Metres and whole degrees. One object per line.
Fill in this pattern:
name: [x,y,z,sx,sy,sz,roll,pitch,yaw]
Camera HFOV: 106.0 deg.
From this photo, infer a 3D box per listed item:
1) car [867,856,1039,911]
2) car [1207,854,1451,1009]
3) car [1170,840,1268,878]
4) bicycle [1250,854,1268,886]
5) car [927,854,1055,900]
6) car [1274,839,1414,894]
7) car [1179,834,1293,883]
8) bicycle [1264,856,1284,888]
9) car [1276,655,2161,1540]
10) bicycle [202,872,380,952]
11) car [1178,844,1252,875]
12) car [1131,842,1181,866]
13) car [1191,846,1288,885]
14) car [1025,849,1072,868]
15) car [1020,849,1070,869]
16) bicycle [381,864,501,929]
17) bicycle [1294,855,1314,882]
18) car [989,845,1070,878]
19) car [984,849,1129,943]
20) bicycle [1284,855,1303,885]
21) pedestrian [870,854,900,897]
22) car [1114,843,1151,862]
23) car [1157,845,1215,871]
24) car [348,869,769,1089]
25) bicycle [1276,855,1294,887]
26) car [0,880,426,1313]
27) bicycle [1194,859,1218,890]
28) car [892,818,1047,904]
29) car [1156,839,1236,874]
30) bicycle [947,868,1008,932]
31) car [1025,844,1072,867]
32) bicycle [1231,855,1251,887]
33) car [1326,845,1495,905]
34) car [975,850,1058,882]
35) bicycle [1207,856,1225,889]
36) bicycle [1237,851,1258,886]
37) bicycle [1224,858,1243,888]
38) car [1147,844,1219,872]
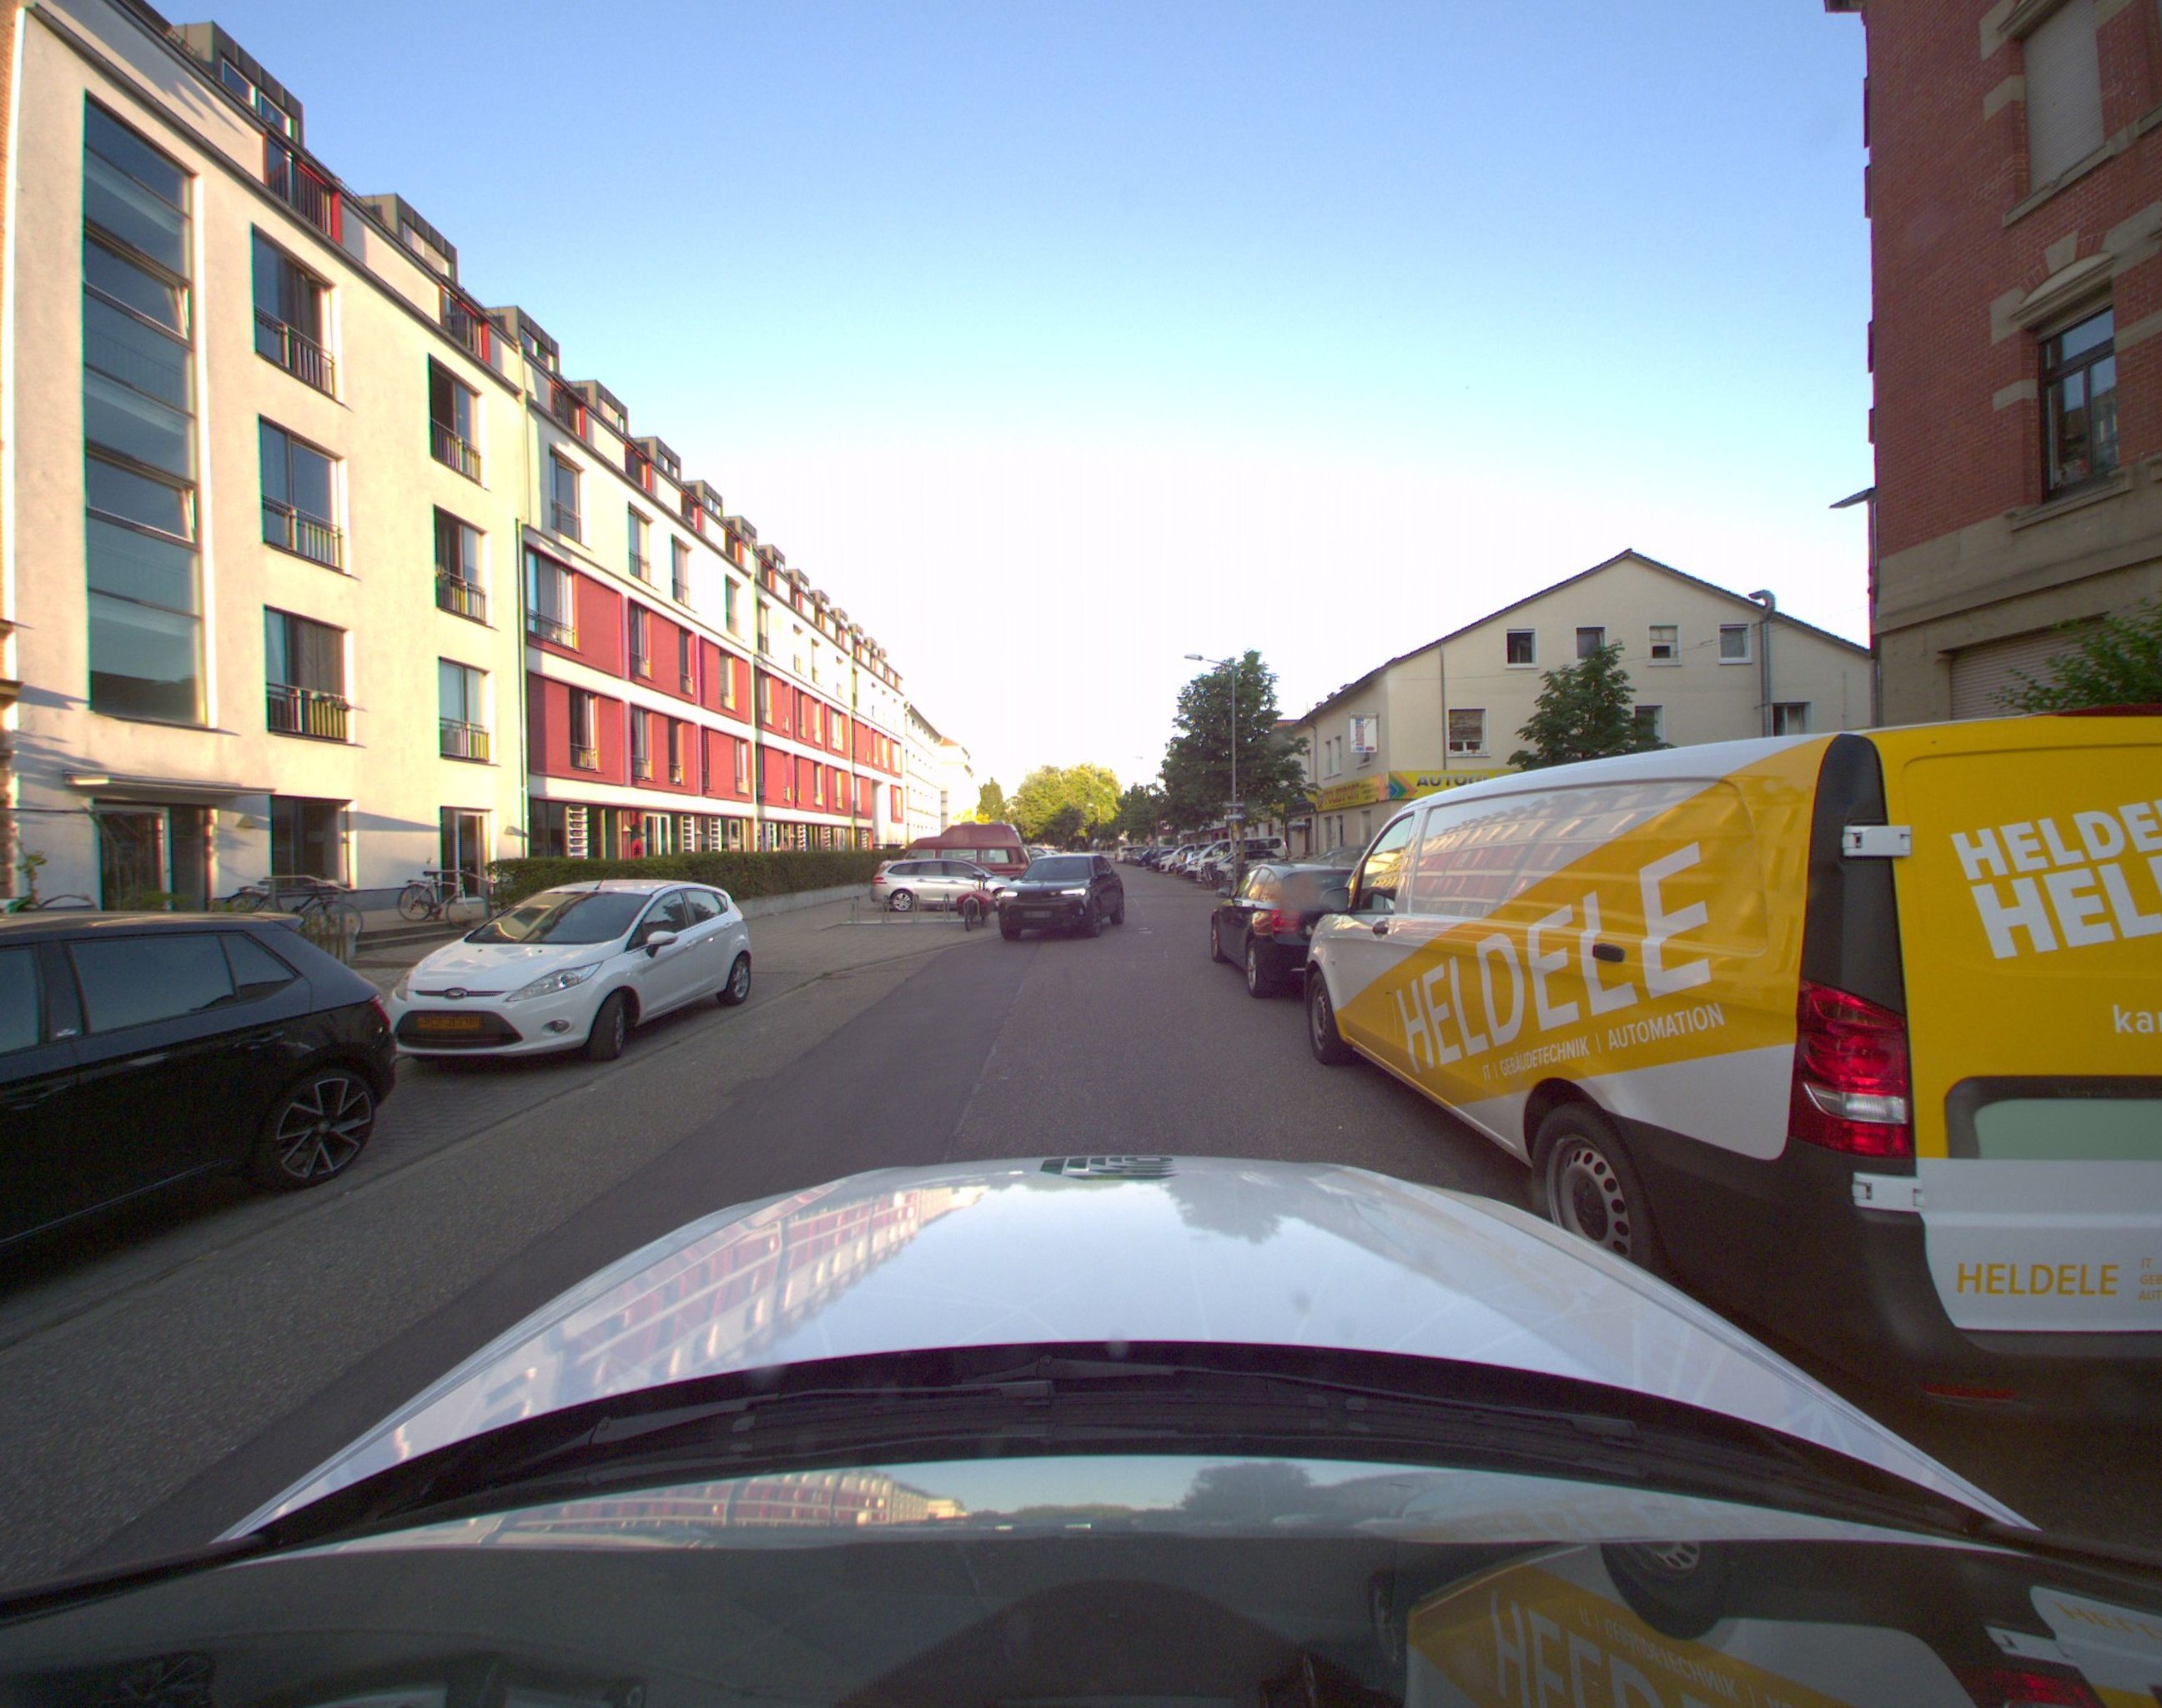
car: [-3.501,0.793,22.980,4.604,1.460,1.879,0,0,-2]
car: [2.652,0.730,9.759,1.715,1.424,4.254,0,0,1]
car: [7.446,0.282,44.269,4.925,1.742,2.050,-3,0,2]
bicycle: [6.953,0.621,31.855,0.384,1.200,1.482,-3,0,2]
car: [-3.039,0.761,28.121,4.196,1.538,1.790,0,0,-1]
car: [8.583,0.390,26.794,4.035,1.514,1.757,-3,2,2]
car: [7.325,0.204,38.924,4.971,1.983,2.221,-3,0,1]
bicycle: [7.531,0.684,31.813,0.443,1.200,1.482,-3,0,2]
car: [2.547,0.501,4.285,1.886,1.884,5.083,-1,0,1]
bicycle: [-11.929,0.860,12.339,1.908,1.141,0.812,0,0,2]
car: [7.666,0.324,46.899,3.897,1.526,1.940,-3,0,2]
car: [7.028,0.005,76.604,4.470,1.911,1.685,-3,0,-4]
car: [6.992,0.477,36.142,3.907,1.451,1.767,-3,0,-2]
car: [-3.041,0.421,76.421,4.241,1.749,2.001,0,0,1]
car: [-3.102,0.440,71.648,4.241,1.714,2.001,0,0,1]
bicycle: [-11.736,0.773,14.961,1.768,1.148,0.611,0,0,3]
bicycle: [8.721,0.566,31.909,0.386,1.017,1.482,-3,0,2]
car: [-3.153,0.448,50.544,4.833,2.021,1.907,0,0,1]
car: [-0.315,0.711,15.842,1.767,1.517,4.015,-3,0,13]
bicycle: [8.319,0.612,31.871,0.351,1.143,1.482,-3,0,2]
pedestrian: [-6.910,0.740,28.694,0.829,1.501,0.798,0,0,2]
car: [5.800,-0.163,92.156,3.960,1.911,2.047,-3,0,-4]
car: [8.209,0.296,63.933,4.303,1.804,1.810,-3,0,-1]
car: [-4.671,0.966,8.104,1.646,1.530,4.015,-1,0,-1]
bicycle: [7.958,0.657,31.796,0.351,1.200,1.482,-3,0,2]
car: [-4.869,0.949,3.005,1.697,1.534,3.845,-1,0,1]
bicycle: [4.867,0.782,31.833,0.437,1.130,2.014,-3,0,-4]
car: [-3.413,0.216,25.557,4.493,2.584,2.001,0,0,2]
car: [7.603,0.153,54.186,4.929,1.958,2.049,-3,0,-1]
bicycle: [-2.188,0.943,17.658,0.804,1.221,2.867,0,0,3]
car: [-3.127,0.141,79.061,4.517,2.134,2.001,0,0,1]
bicycle: [6.278,0.656,32.014,0.384,1.200,2.018,-3,0,2]
car: [8.891,0.537,22.171,3.917,1.455,1.657,-2,1,-1]
car: [-3.428,0.615,43.635,4.241,1.660,2.001,0,0,1]
bicycle: [5.286,0.714,32.012,0.384,1.200,2.018,-3,0,2]
bicycle: [6.535,0.562,32.019,0.384,1.304,2.018,-3,0,2]
bicycle: [5.996,0.724,32.033,0.384,1.114,2.018,-3,0,2]
car: [7.355,0.263,59.036,4.929,1.689,2.076,-3,0,-1]
